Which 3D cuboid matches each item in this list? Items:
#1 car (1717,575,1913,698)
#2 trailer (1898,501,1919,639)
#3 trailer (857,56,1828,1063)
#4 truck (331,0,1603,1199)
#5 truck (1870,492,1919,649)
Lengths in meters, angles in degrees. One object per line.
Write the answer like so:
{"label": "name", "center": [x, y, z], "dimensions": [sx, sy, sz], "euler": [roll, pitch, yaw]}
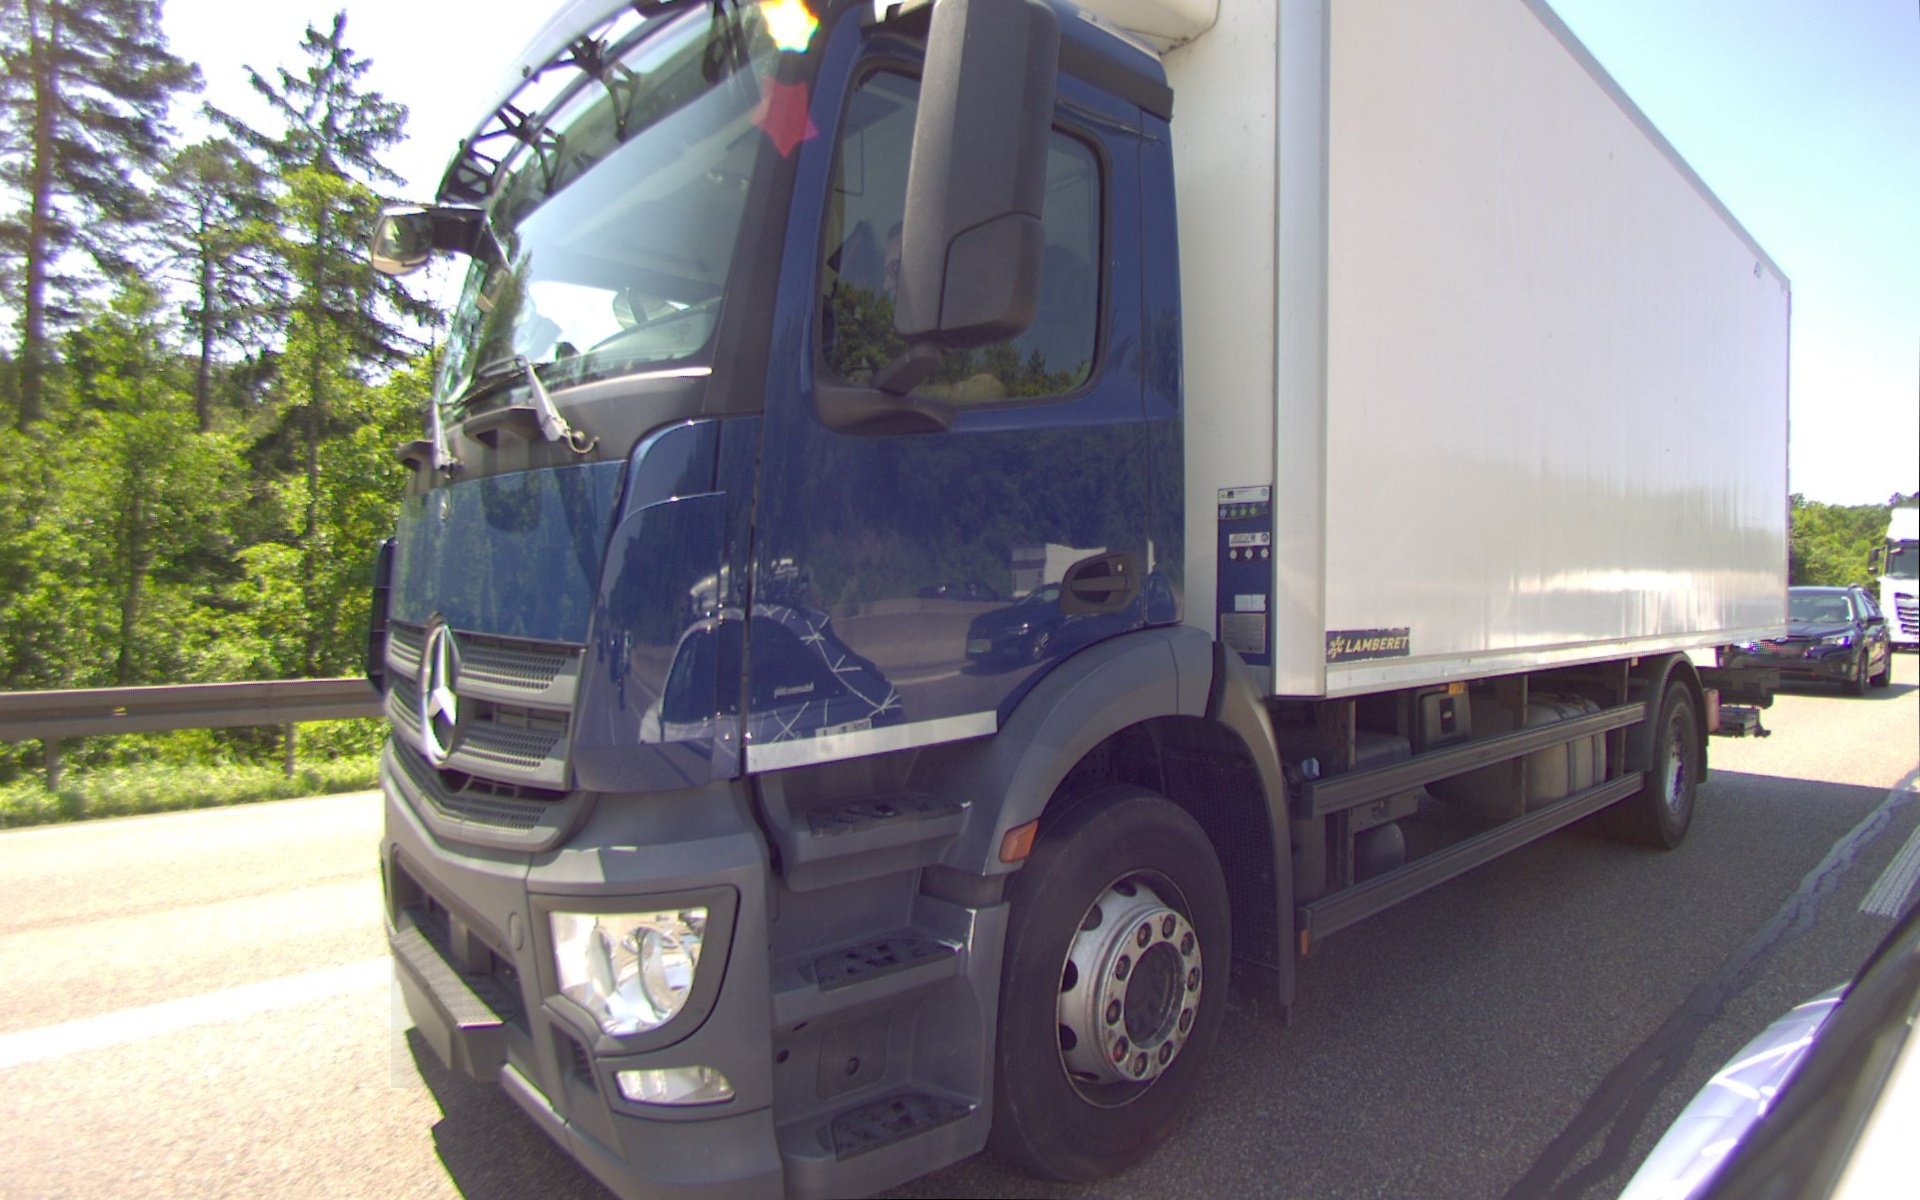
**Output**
{"label": "car", "center": [14.313, 0.473, 16.845], "dimensions": [4.534, 1.713, 1.996], "euler": [-1, 3, -44]}
{"label": "trailer", "center": [33.720, -0.967, 33.399], "dimensions": [11.416, 4.133, 2.765], "euler": [-1, 3, -41]}
{"label": "trailer", "center": [3.234, -0.146, 6.501], "dimensions": [7.746, 2.935, 2.560], "euler": [0, 0, -42]}
{"label": "truck", "center": [0.210, -0.096, 3.770], "dimensions": [4.031, 2.977, 2.561], "euler": [-1, 2, -40]}
{"label": "truck", "center": [28.175, -0.835, 28.584], "dimensions": [7.206, 4.135, 2.765], "euler": [-1, 1, -41]}
